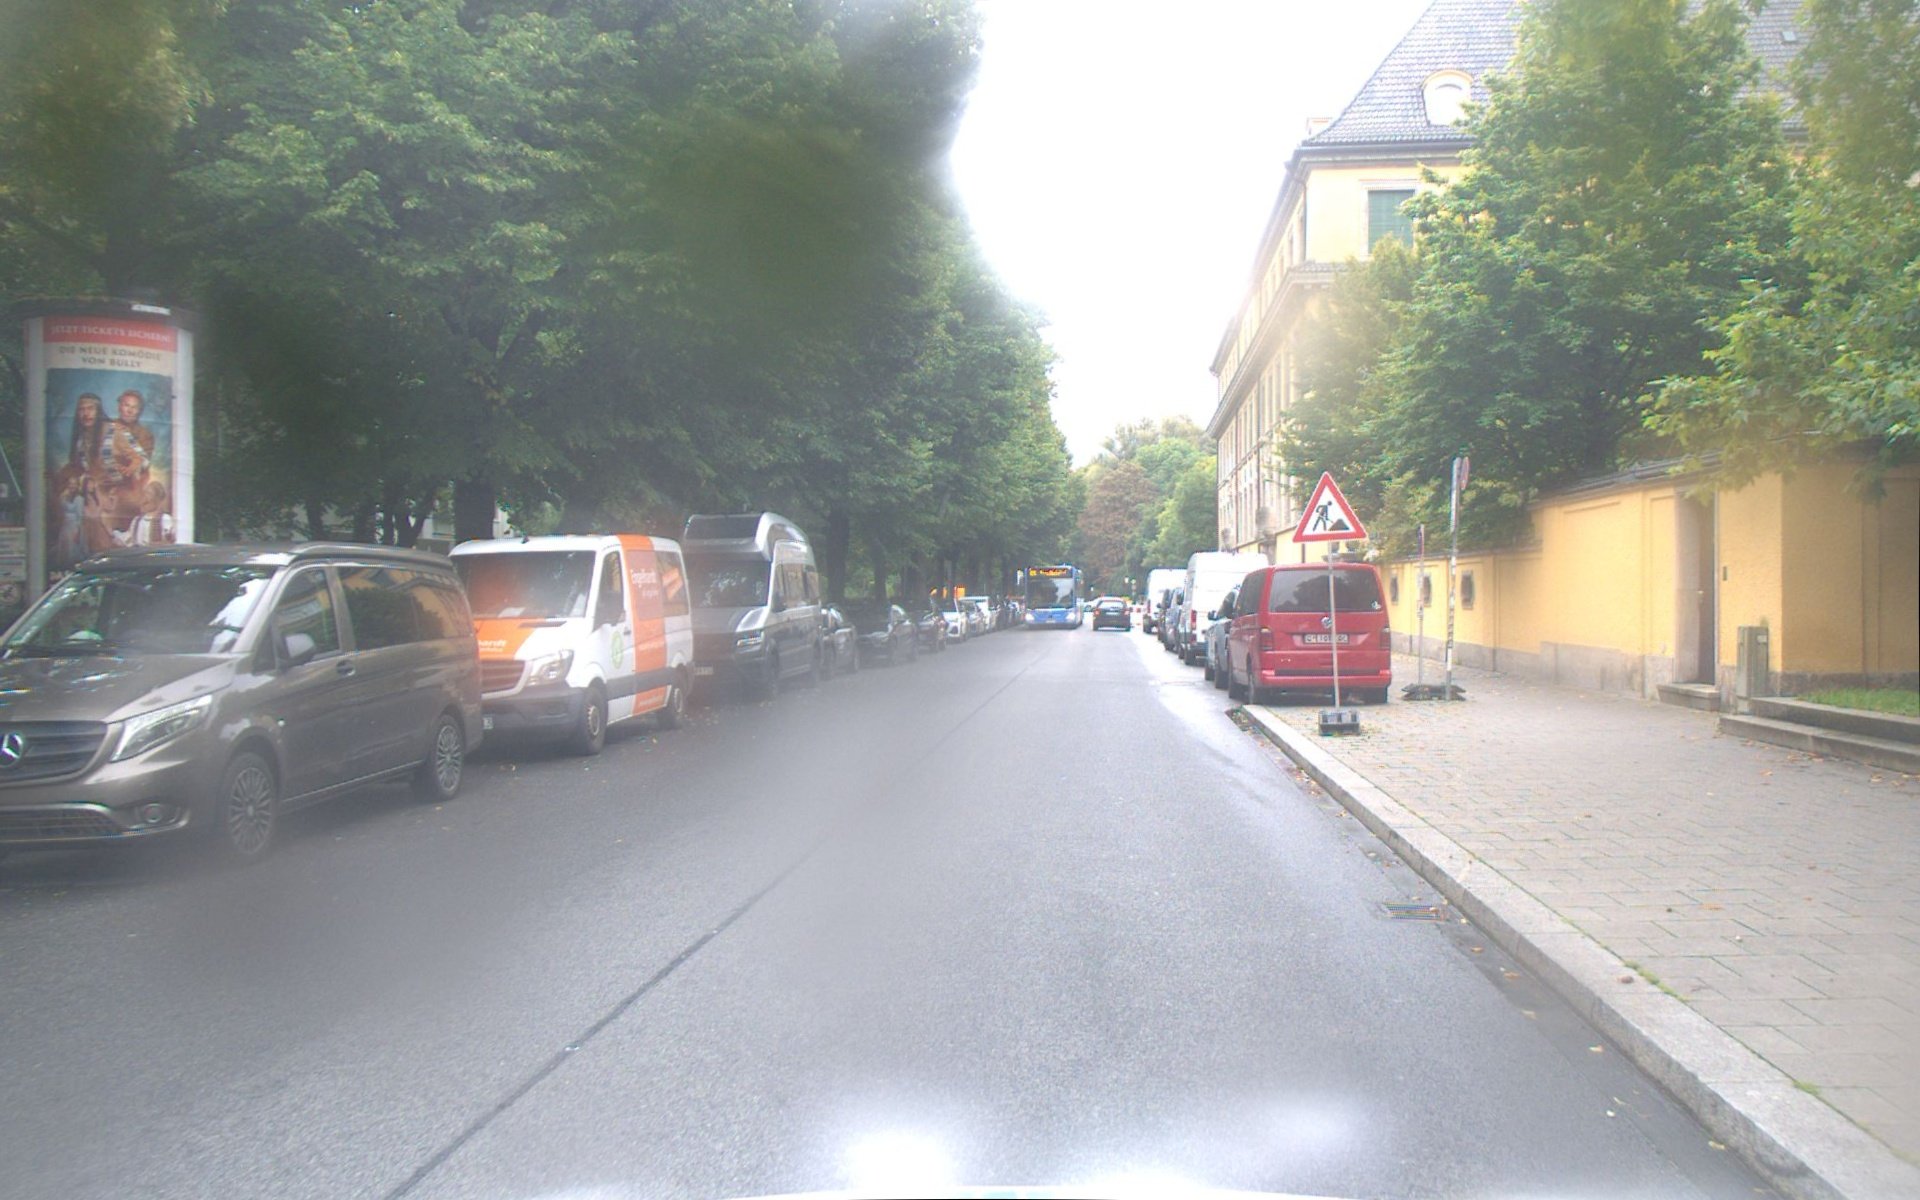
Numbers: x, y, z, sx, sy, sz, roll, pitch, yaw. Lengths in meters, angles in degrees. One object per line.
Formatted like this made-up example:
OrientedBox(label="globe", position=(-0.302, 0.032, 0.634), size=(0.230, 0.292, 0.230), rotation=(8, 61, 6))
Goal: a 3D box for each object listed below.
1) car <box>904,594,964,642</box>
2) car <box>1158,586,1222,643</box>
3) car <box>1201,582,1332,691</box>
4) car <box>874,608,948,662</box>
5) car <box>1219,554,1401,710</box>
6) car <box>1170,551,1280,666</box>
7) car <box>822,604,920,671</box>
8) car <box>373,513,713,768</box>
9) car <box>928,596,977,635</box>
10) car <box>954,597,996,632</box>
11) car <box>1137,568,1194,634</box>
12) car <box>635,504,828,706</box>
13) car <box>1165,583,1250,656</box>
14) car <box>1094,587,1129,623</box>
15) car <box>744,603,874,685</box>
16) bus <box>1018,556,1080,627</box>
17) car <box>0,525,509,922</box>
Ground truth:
OrientedBox(label="car", position=(-0.889, 0.622, 58.670), size=(1.746, 1.625, 4.586), rotation=(-1, 0, 4))
OrientedBox(label="car", position=(8.082, 0.508, 58.505), size=(1.831, 1.902, 4.989), rotation=(-1, 0, 4))
OrientedBox(label="car", position=(5.396, 0.602, 29.581), size=(1.819, 1.772, 4.605), rotation=(1, 0, 5))
OrientedBox(label="car", position=(-1.377, 1.011, 47.995), size=(1.752, 1.479, 3.950), rotation=(-1, -1, 4))
OrientedBox(label="car", position=(4.942, 0.459, 24.096), size=(1.820, 2.002, 5.447), rotation=(-1, -1, 4))
OrientedBox(label="car", position=(6.263, 0.234, 39.674), size=(2.051, 2.531, 5.742), rotation=(-1, -1, 4))
OrientedBox(label="car", position=(-2.021, 0.876, 38.876), size=(1.752, 1.463, 4.553), rotation=(-1, -1, 4))
OrientedBox(label="car", position=(-4.345, 0.430, 18.304), size=(2.070, 2.390, 5.410), rotation=(-1, -1, 4))
OrientedBox(label="car", position=(-0.280, 0.609, 65.022), size=(1.637, 1.495, 4.106), rotation=(-1, 0, 4))
OrientedBox(label="car", position=(0.692, 0.648, 74.569), size=(1.637, 1.495, 4.106), rotation=(-1, 0, 4))
OrientedBox(label="car", position=(8.940, 0.061, 72.487), size=(2.011, 2.720, 7.617), rotation=(-1, 0, 4))
OrientedBox(label="car", position=(-3.565, 0.127, 27.079), size=(1.904, 2.904, 6.238), rotation=(-1, -1, 4))
OrientedBox(label="car", position=(6.957, 0.531, 46.982), size=(1.971, 1.940, 5.166), rotation=(1, 0, 4))
OrientedBox(label="car", position=(7.025, 0.223, 76.639), size=(1.544, 1.611, 4.047), rotation=(-1, 0, 6))
OrientedBox(label="car", position=(-2.978, 0.833, 33.552), size=(1.752, 1.463, 4.581), rotation=(-1, 1, 6))
OrientedBox(label="bus", position=(4.841, -0.248, 86.660), size=(2.799, 3.296, 18.434), rotation=(-1, -1, 4))
OrientedBox(label="car", position=(-4.924, 0.633, 11.166), size=(1.904, 1.998, 5.462), rotation=(-2, 0, 4))
